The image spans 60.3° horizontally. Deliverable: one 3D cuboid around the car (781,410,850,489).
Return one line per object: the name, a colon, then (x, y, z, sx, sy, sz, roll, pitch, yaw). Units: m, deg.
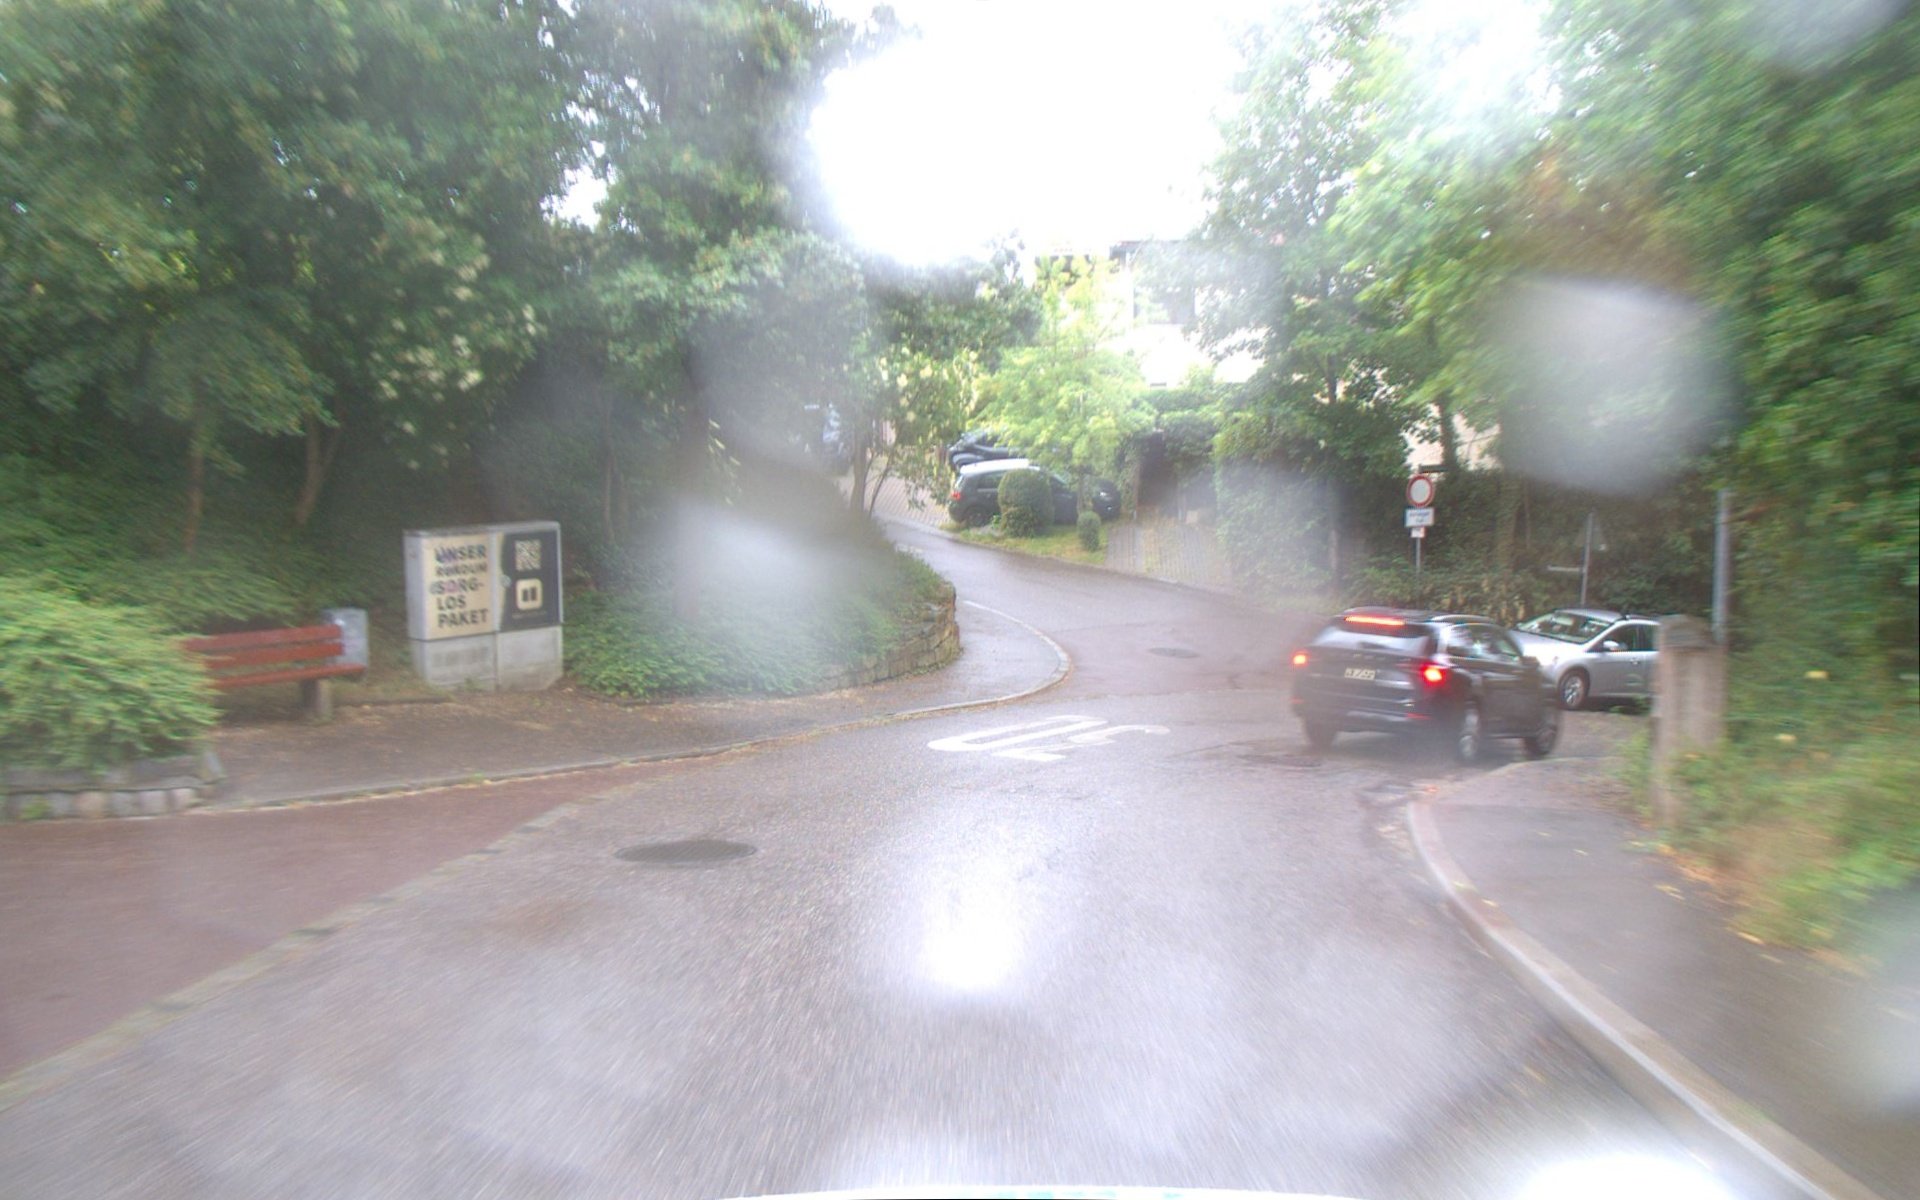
car: (-4.310, -4.513, 49.222, 1.851, 1.640, 4.005, -5, 14, -5)

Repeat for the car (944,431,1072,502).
car: (1.326, -3.626, 44.697, 3.325, 1.598, 1.599, 1, 15, 6)

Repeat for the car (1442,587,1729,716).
car: (9.815, 0.811, 25.956, 4.050, 1.563, 1.668, 5, 3, -22)

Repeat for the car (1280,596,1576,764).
car: (5.091, 0.749, 17.666, 1.672, 1.475, 3.983, 4, 3, 37)

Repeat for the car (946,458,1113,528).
car: (1.679, -2.573, 39.688, 3.903, 1.439, 1.703, 0, 11, 3)
